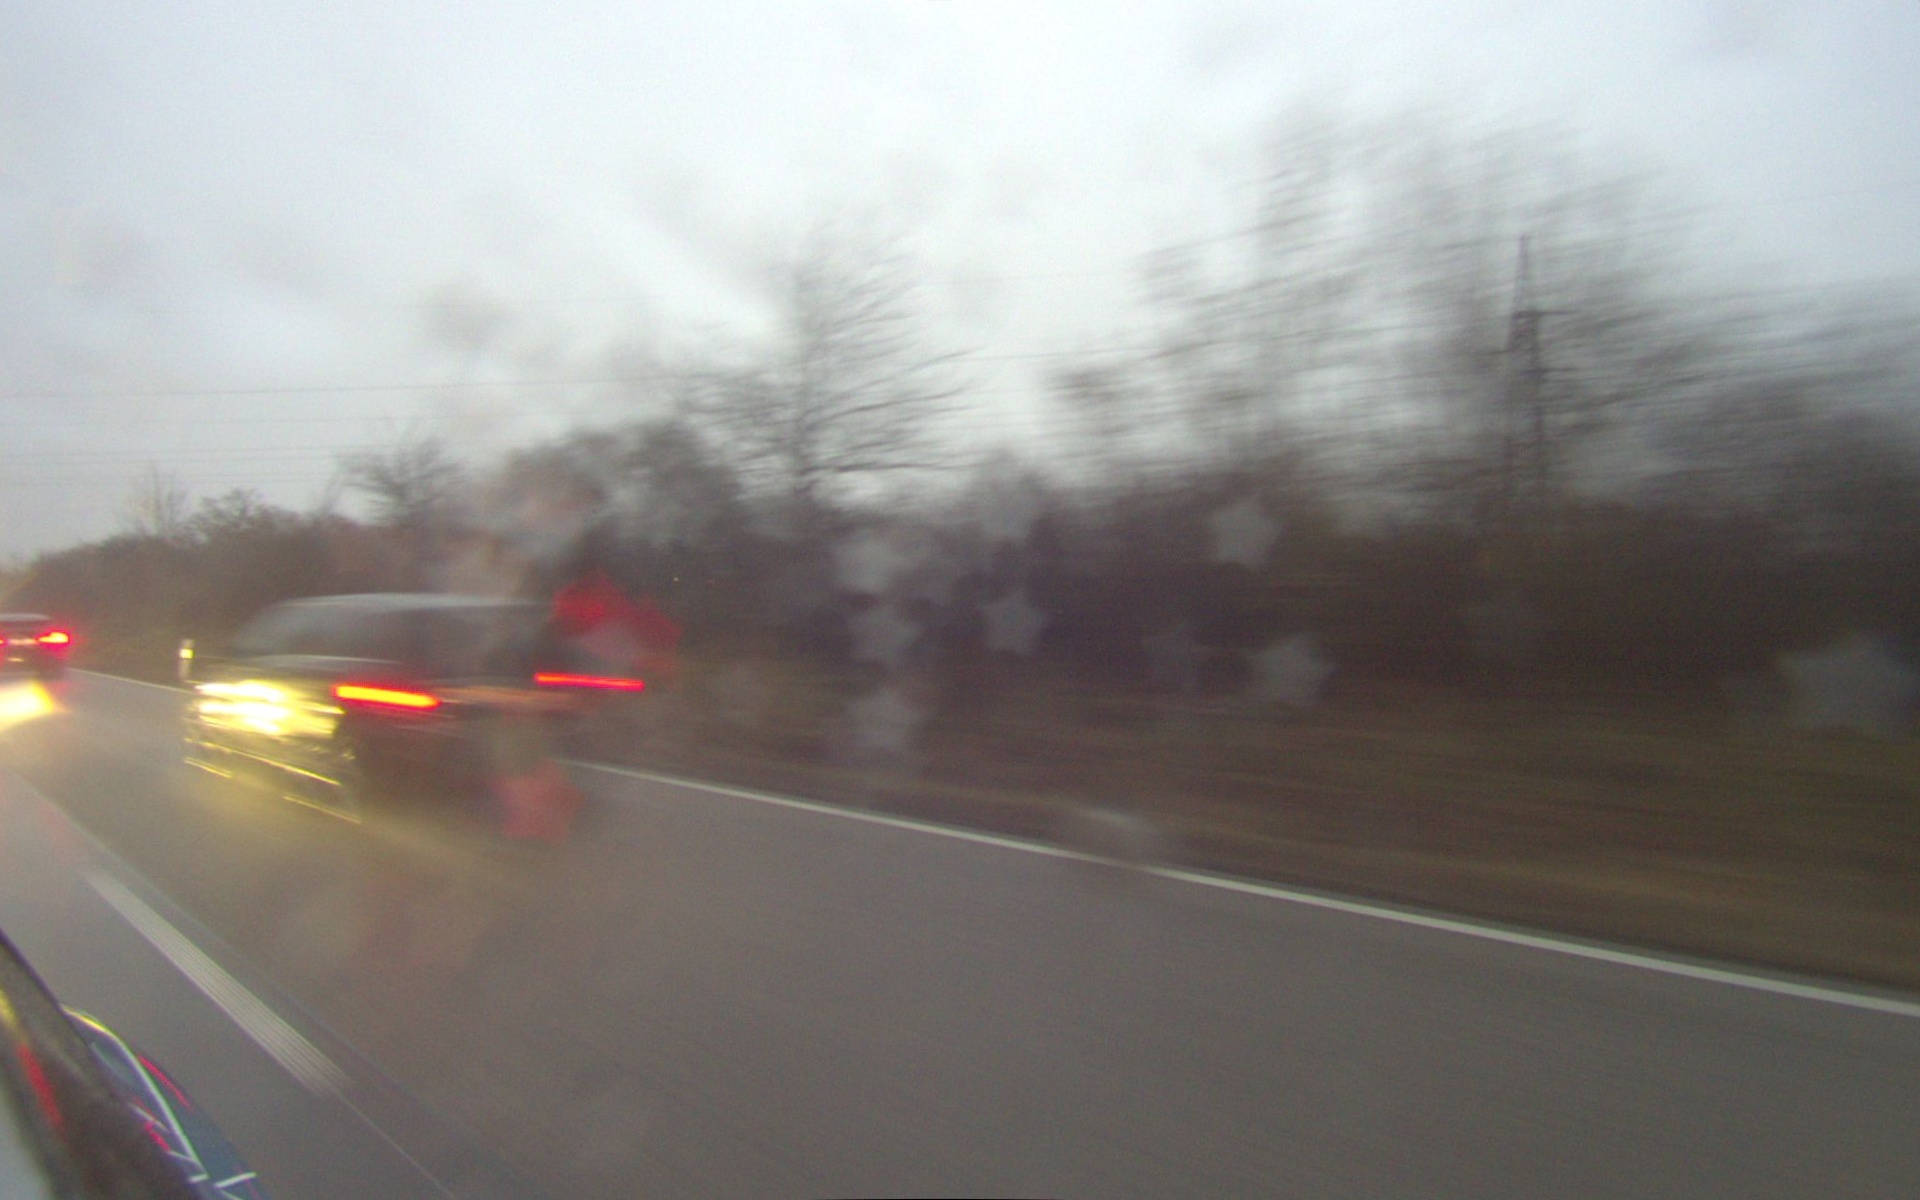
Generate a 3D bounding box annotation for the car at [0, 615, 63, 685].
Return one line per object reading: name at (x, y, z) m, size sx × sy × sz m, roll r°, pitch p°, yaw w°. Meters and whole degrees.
car at (-24.151, 1.224, 25.597) m, size 4.048 × 1.659 × 1.734 m, roll -1°, pitch -1°, yaw 42°

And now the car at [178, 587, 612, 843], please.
car at (-4.990, 0.754, 8.598) m, size 4.690 × 1.608 × 1.761 m, roll -1°, pitch -1°, yaw 41°

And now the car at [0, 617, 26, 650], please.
car at (-54.981, 1.915, 57.871) m, size 3.999 × 1.798 × 1.972 m, roll -1°, pitch 0°, yaw 42°
